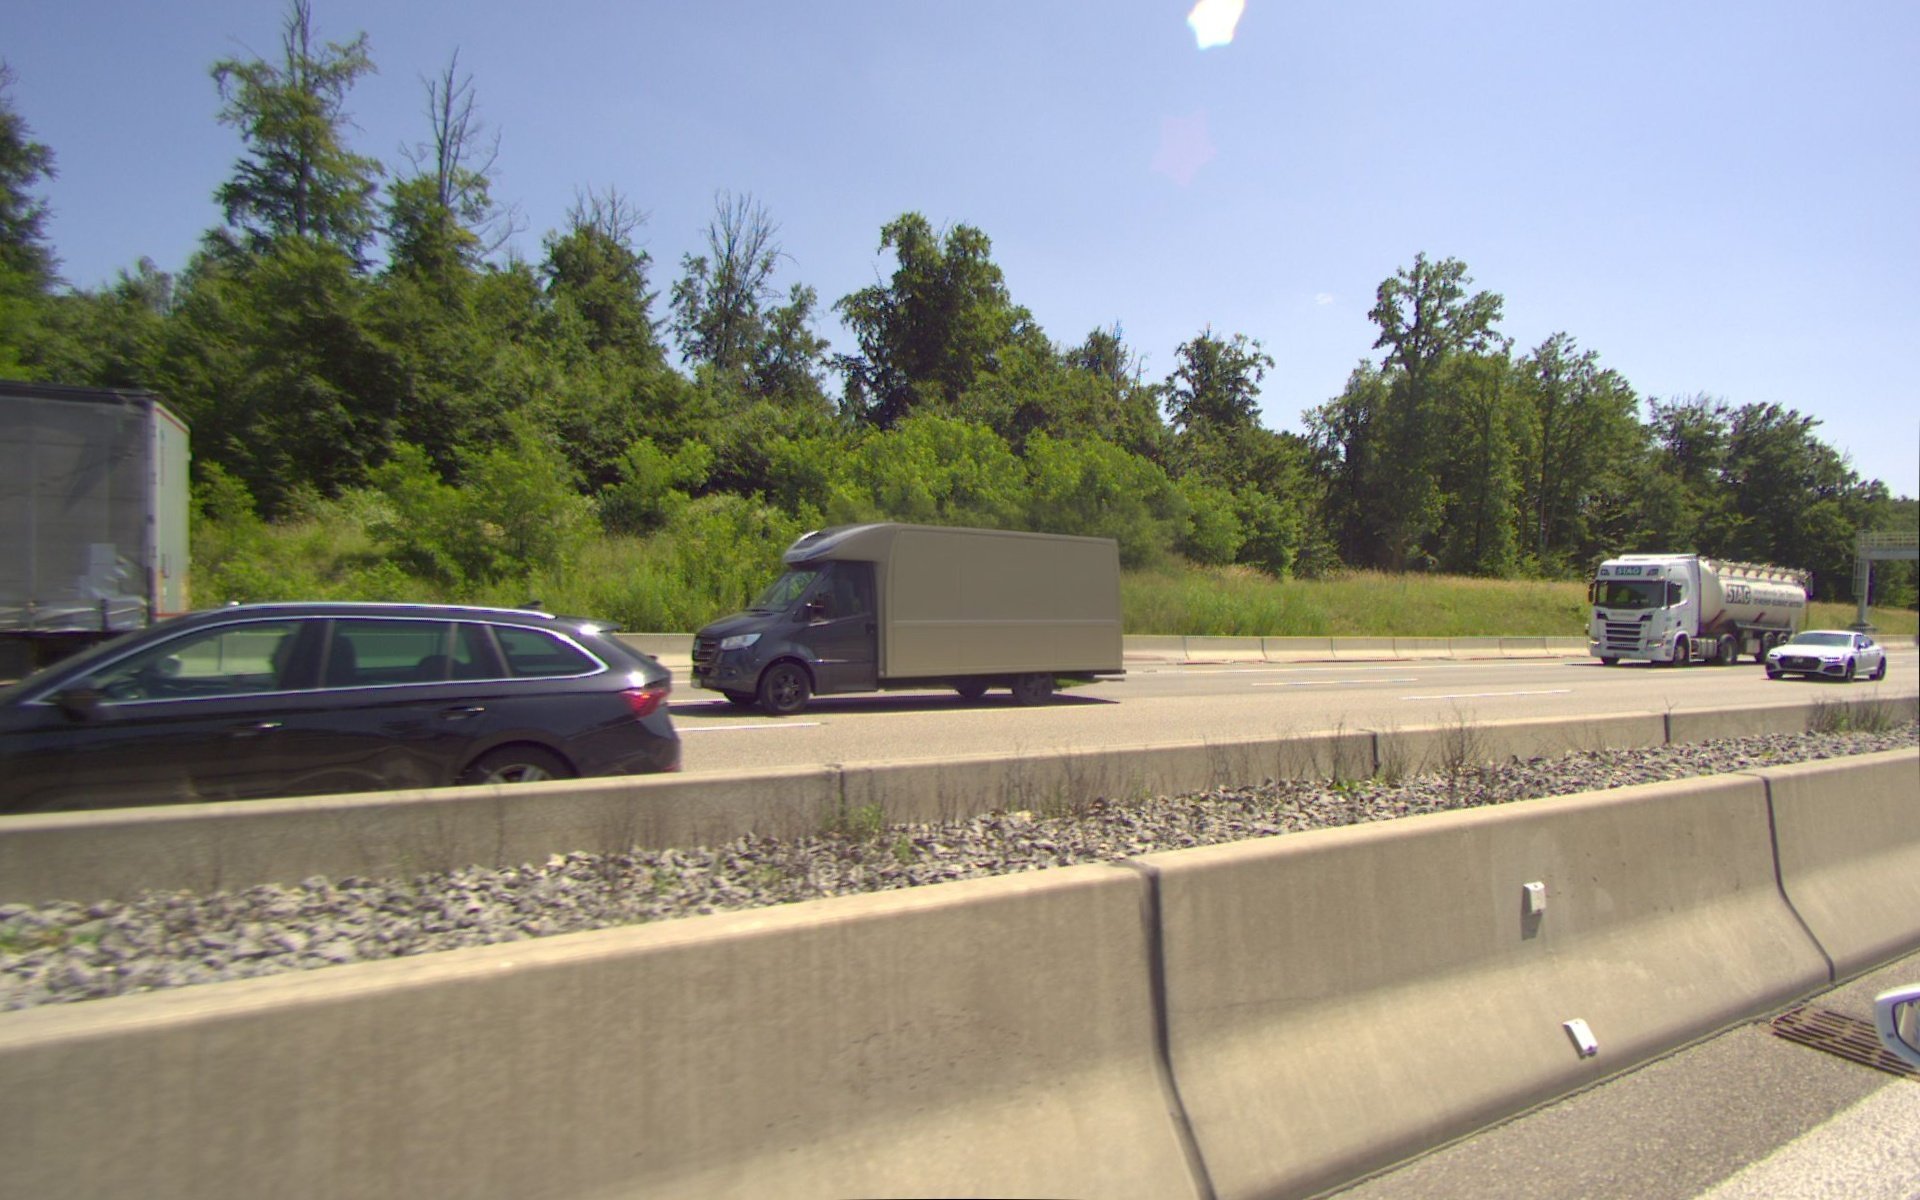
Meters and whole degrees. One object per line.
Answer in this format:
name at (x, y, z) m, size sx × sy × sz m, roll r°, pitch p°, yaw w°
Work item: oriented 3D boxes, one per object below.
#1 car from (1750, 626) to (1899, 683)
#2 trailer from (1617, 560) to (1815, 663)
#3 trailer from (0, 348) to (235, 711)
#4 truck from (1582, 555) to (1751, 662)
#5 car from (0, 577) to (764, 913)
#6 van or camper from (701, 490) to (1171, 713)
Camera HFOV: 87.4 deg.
car at (25.043, 1.550, 29.047) m, size 4.994 × 1.479 × 1.982 m, roll 2°, pitch -1°, yaw -34°
trailer at (29.530, 0.538, 39.014) m, size 10.381 × 3.582 × 2.636 m, roll 2°, pitch 0°, yaw -33°
trailer at (-16.841, -1.062, 10.945) m, size 14.109 × 4.418 × 3.016 m, roll 2°, pitch 0°, yaw -30°
truck at (25.830, 0.369, 36.667) m, size 6.549 × 3.590 × 2.688 m, roll 2°, pitch 0°, yaw -33°
car at (-3.785, 0.694, 5.866) m, size 4.894 × 1.516 × 1.666 m, roll 2°, pitch 0°, yaw -30°
van or camper at (-0.229, 0.109, 16.275) m, size 7.262 × 2.970 × 2.547 m, roll 2°, pitch -1°, yaw -30°
